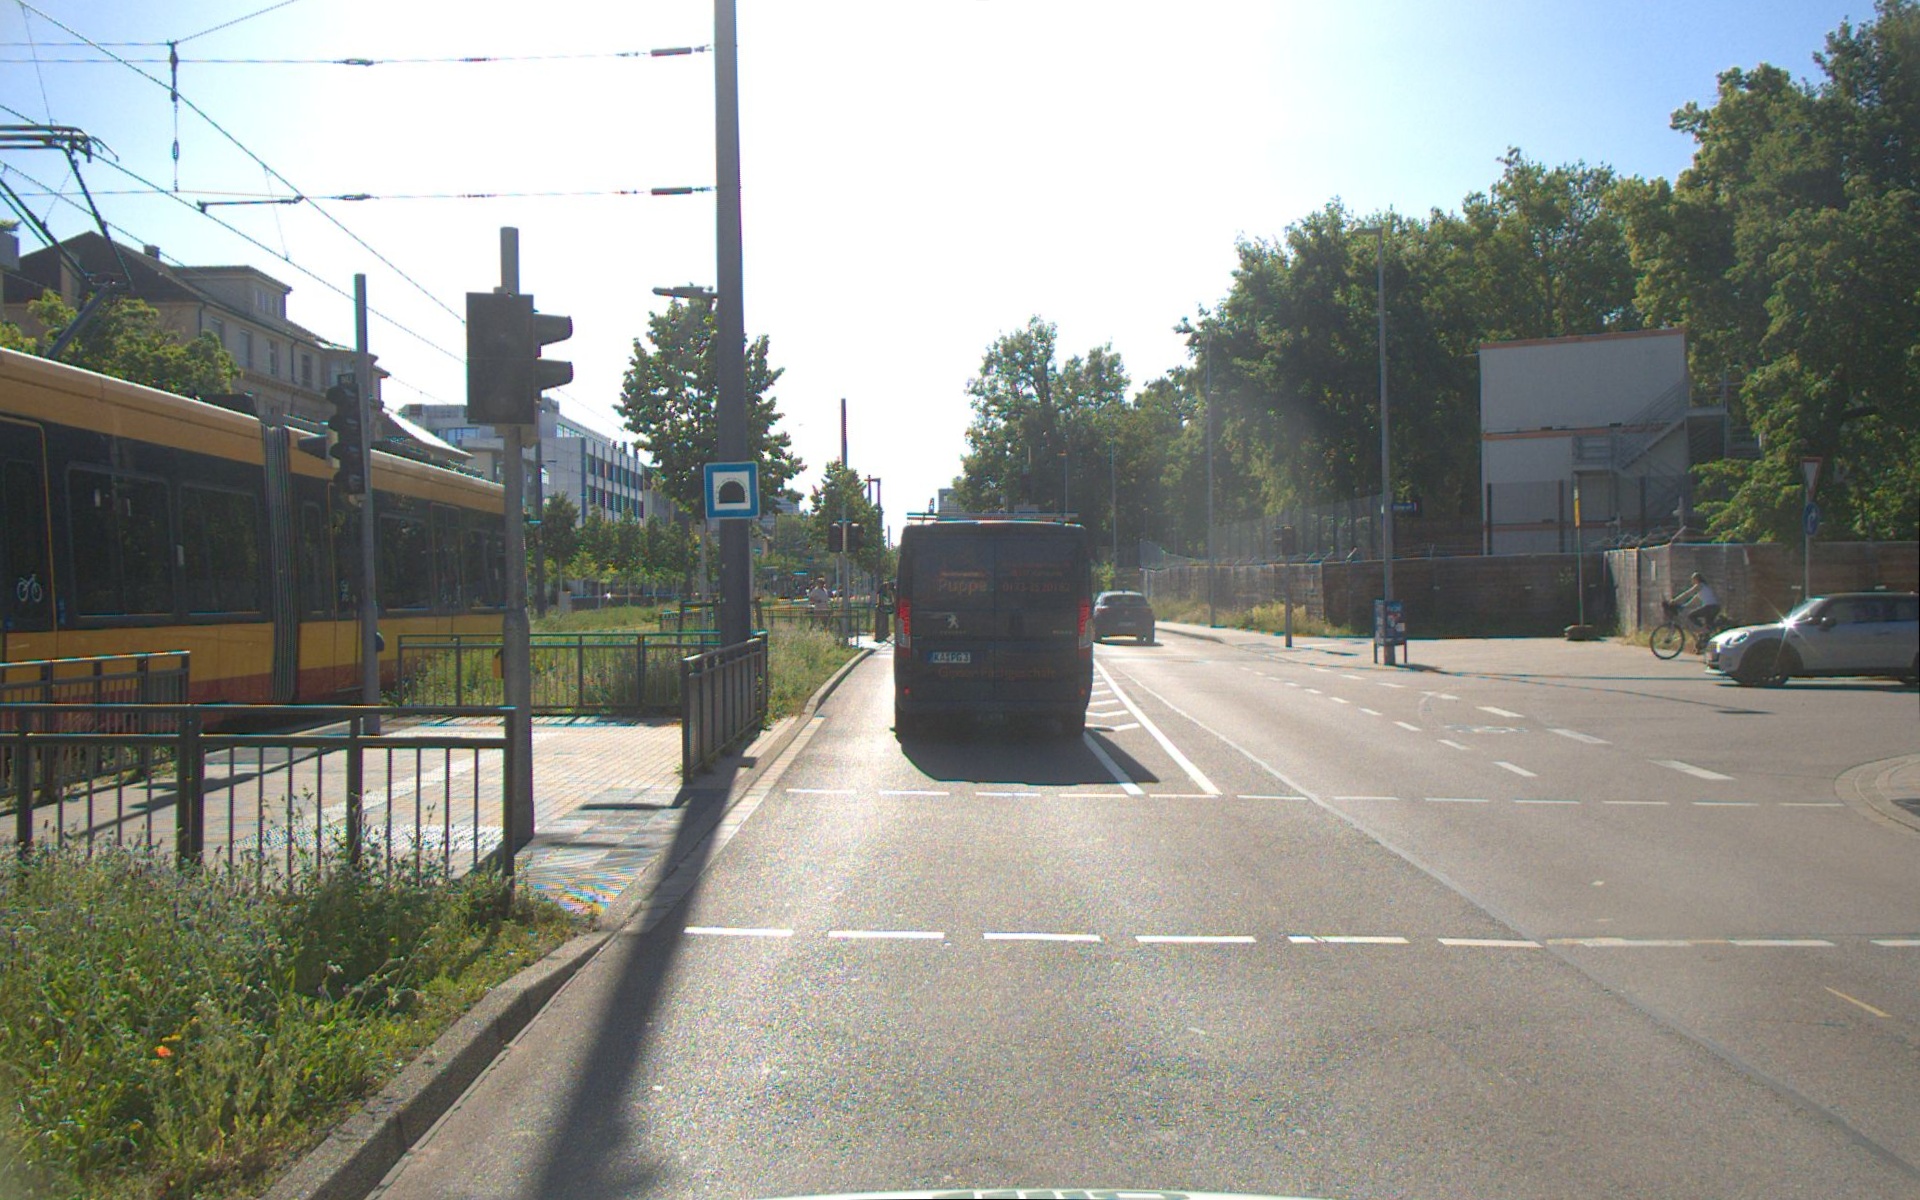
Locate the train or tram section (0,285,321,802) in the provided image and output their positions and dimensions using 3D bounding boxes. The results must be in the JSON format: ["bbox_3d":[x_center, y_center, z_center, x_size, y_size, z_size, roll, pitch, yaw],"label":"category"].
[{"bbox_3d":[-7.931,-0.412,12.726,1.953,3.733,11.312,0,0,-2],"label":"train or tram section"}]

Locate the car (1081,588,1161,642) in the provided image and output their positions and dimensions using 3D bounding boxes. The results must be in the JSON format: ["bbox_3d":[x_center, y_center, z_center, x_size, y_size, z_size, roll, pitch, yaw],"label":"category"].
[{"bbox_3d":[4.599,0.400,47.788,1.728,1.488,3.997,0,0,-3],"label":"car"}]

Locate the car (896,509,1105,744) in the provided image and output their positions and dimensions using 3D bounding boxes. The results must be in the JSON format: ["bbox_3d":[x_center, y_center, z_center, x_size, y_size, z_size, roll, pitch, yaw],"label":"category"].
[{"bbox_3d":[0.339,0.246,18.120,2.040,2.288,3.999,0,0,-2],"label":"car"}]

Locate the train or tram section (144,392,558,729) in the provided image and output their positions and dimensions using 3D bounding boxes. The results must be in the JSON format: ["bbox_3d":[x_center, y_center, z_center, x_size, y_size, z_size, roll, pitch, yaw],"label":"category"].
[{"bbox_3d":[-8.177,-0.464,24.197,1.953,3.733,11.681,0,0,-1],"label":"train or tram section"}]

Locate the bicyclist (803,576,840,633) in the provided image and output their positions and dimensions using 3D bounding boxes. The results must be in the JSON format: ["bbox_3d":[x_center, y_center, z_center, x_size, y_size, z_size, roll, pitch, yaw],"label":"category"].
[{"bbox_3d":[-3.822,0.118,45.539,0.816,1.539,0.723,0,0,-27],"label":"bicyclist"}]

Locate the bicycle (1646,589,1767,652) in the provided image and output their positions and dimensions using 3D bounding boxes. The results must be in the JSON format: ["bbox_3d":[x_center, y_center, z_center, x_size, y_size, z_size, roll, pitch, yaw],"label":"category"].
[{"bbox_3d":[14.476,0.406,32.145,2.074,1.132,0.604,-3,0,23],"label":"bicycle"}]

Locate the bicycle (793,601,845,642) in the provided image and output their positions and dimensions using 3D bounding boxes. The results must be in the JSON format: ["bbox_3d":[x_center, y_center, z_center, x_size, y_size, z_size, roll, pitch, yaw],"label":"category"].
[{"bbox_3d":[-3.903,0.584,45.635,0.724,1.110,2.064,0,0,-27],"label":"bicycle"}]

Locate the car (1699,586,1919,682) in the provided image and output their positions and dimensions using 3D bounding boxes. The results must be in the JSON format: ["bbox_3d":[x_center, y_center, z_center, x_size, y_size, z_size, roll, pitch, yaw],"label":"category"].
[{"bbox_3d":[13.809,0.515,26.157,3.621,1.461,1.774,0,0,15],"label":"car"}]

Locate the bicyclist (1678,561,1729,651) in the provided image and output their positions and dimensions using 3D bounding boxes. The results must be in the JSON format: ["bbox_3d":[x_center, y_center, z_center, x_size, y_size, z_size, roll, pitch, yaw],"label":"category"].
[{"bbox_3d":[14.424,0.119,32.111,0.832,1.702,0.743,-2,0,22],"label":"bicyclist"}]
